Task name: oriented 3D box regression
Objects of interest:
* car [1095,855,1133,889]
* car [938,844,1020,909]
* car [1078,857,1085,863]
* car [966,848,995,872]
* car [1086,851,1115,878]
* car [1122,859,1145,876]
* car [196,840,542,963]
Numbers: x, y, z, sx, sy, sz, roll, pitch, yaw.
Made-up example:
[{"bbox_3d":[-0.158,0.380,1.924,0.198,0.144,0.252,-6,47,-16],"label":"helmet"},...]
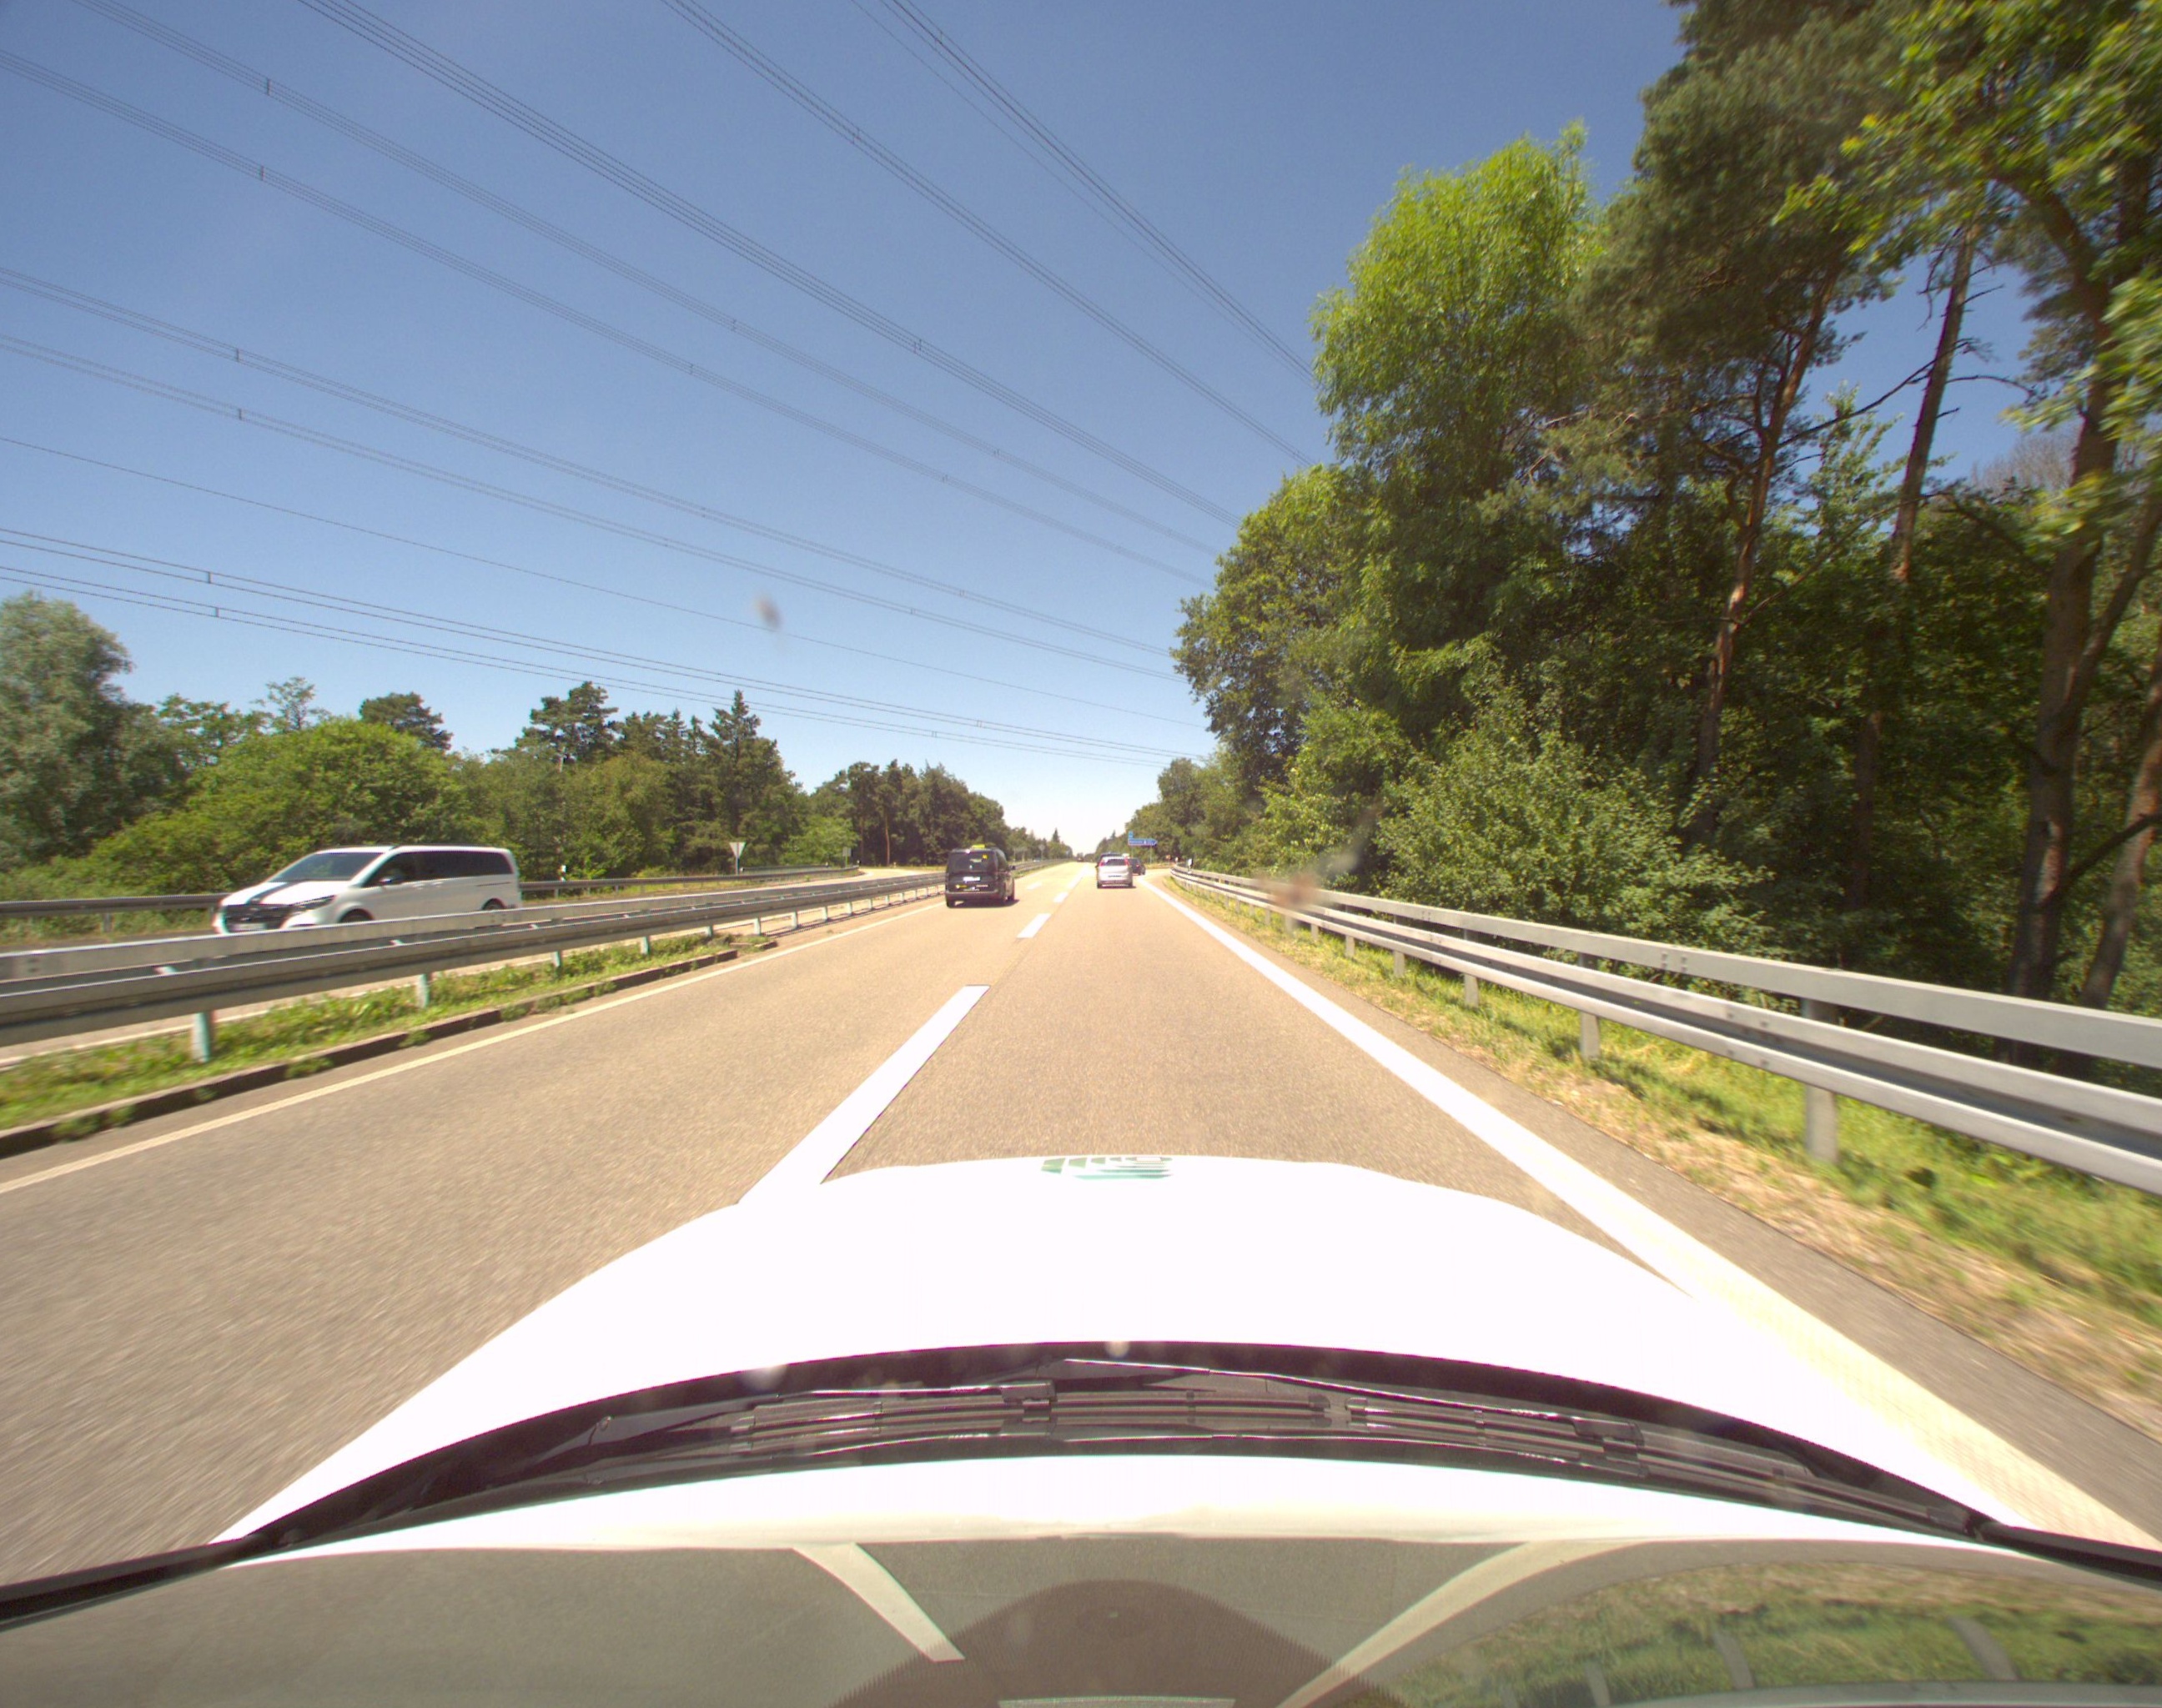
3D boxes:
[{"bbox_3d":[1.529,0.820,38.710,1.635,1.468,3.418,1,0,0],"label":"car"},{"bbox_3d":[-3.243,0.674,27.036,1.847,1.887,5.575,-1,0,1],"label":"car"},{"bbox_3d":[0.142,1.710,222.606,1.706,1.471,3.575,1,0,1],"label":"car"},{"bbox_3d":[-12.012,0.715,97.708,2.516,2.618,7.185,-2,0,0],"label":"car"},{"bbox_3d":[1.326,0.678,53.770,1.632,1.654,3.579,1,0,5],"label":"car"},{"bbox_3d":[4.376,1.095,67.592,1.632,1.342,3.580,1,0,6],"label":"car"},{"bbox_3d":[-13.643,0.791,16.260,1.884,1.992,5.535,-1,0,2],"label":"car"}]
